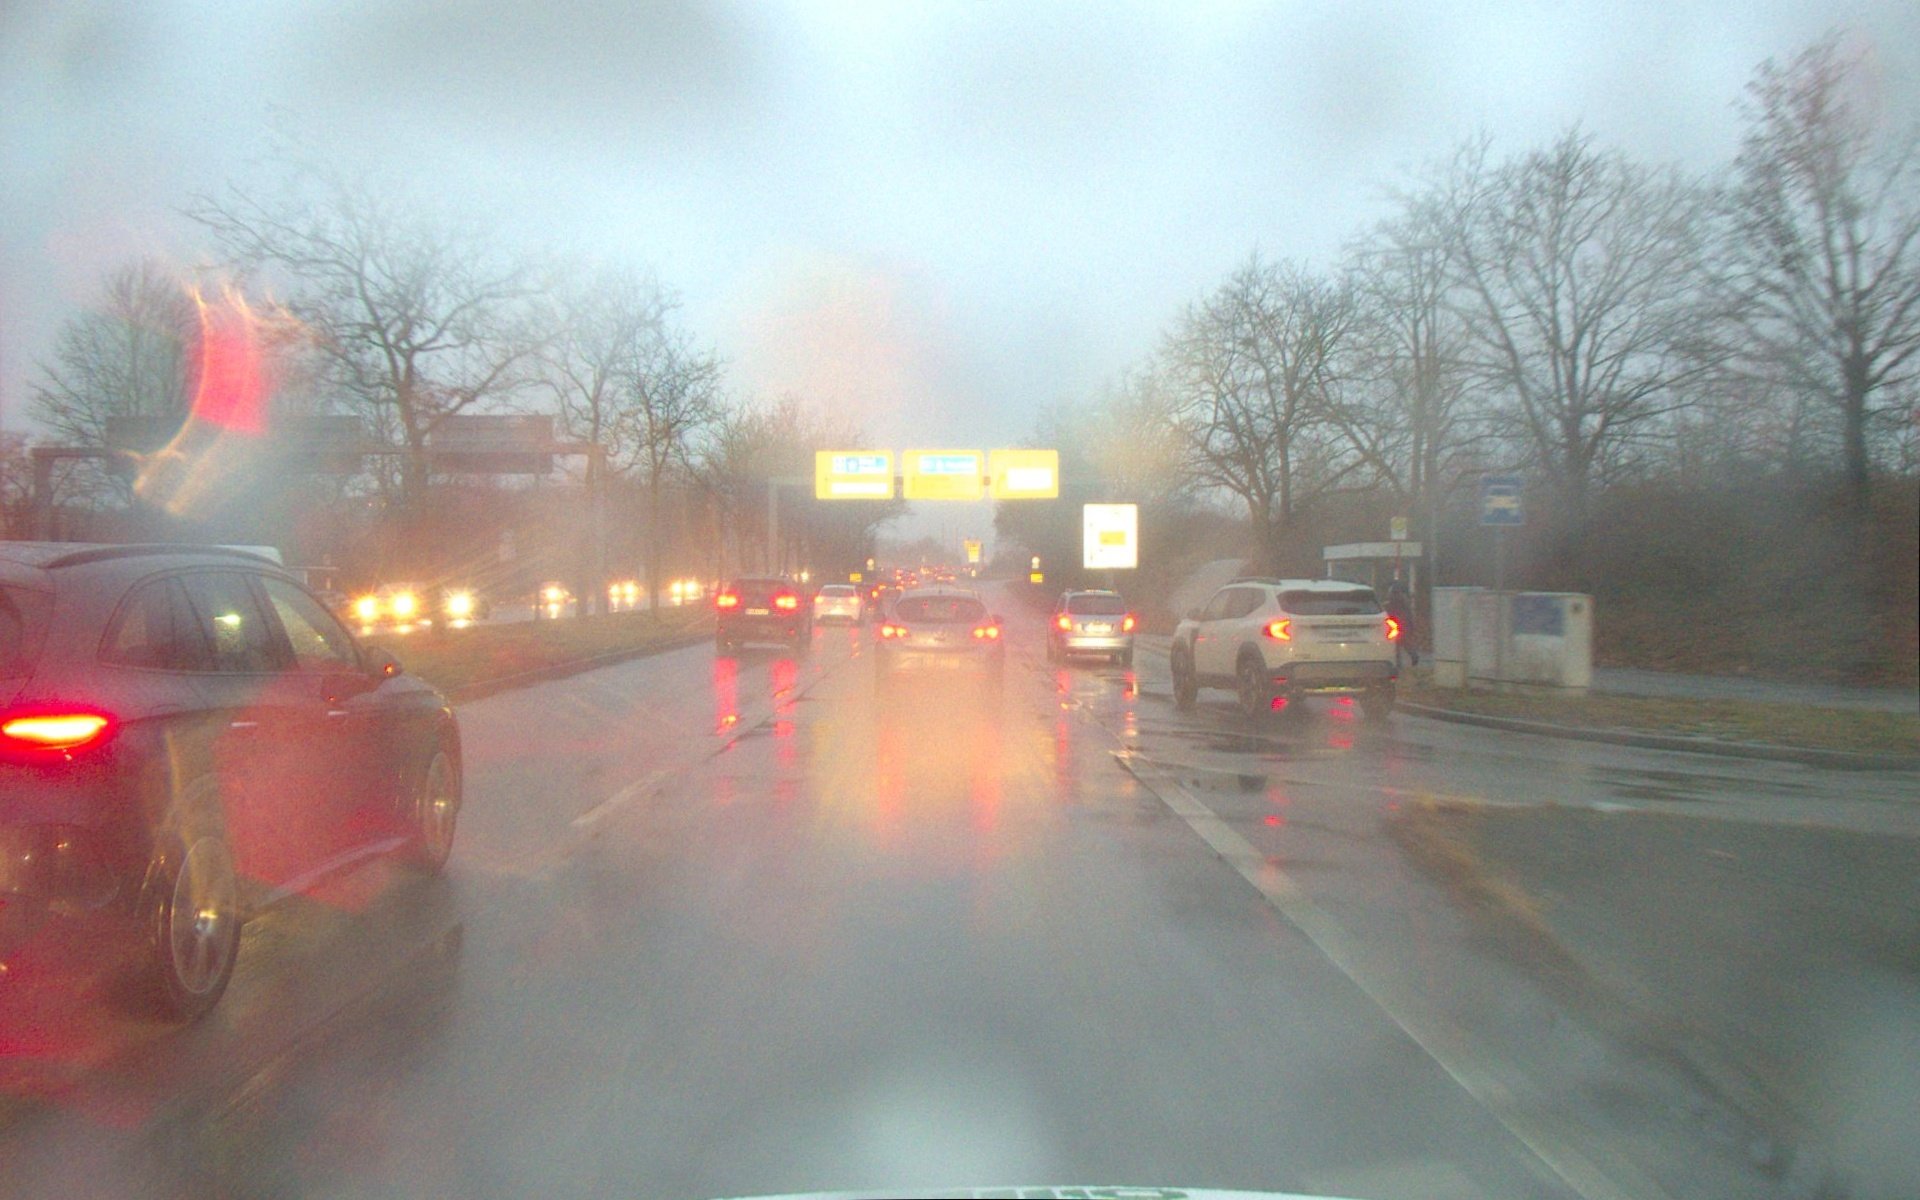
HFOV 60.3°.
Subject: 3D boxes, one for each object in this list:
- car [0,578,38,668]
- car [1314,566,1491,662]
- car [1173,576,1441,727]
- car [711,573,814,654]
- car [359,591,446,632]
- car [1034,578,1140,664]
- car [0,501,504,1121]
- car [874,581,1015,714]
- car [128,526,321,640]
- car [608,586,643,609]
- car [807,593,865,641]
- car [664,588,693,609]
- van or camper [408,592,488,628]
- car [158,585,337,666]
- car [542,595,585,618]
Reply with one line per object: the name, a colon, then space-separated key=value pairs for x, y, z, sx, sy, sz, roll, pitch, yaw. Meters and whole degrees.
car: x=-18.140 y=0.434 z=29.009 sx=1.734 sy=1.614 sz=4.032 roll=0 pitch=1 yaw=-1
car: x=8.367 y=0.237 z=31.736 sx=1.928 sy=1.647 sz=4.544 roll=-1 pitch=0 yaw=-3
car: x=4.121 y=0.557 z=20.407 sx=1.782 sy=1.646 sz=4.401 roll=0 pitch=0 yaw=-9
car: x=-4.275 y=0.279 z=36.354 sx=1.785 sy=1.677 sz=4.000 roll=0 pitch=0 yaw=0
car: x=-21.253 y=0.424 z=63.261 sx=1.865 sy=1.472 sz=4.442 roll=0 pitch=0 yaw=-1
car: x=2.642 y=0.438 z=35.364 sx=1.894 sy=1.677 sz=4.466 roll=1 pitch=0 yaw=0
car: x=-3.364 y=0.568 z=6.706 sx=1.785 sy=1.677 sz=4.466 roll=0 pitch=0 yaw=0
car: x=-0.199 y=0.629 z=23.549 sx=1.785 sy=1.677 sz=4.466 roll=1 pitch=0 yaw=0
car: x=-21.404 y=-0.452 z=48.640 sx=2.244 sy=3.057 sz=7.347 roll=1 pitch=0 yaw=1
car: x=-28.440 y=-0.208 z=140.671 sx=1.952 sy=1.883 sz=4.427 roll=1 pitch=0 yaw=1
car: x=-4.500 y=0.600 z=60.428 sx=1.785 sy=1.677 sz=4.000 roll=0 pitch=0 yaw=0
car: x=-22.644 y=-0.130 z=133.070 sx=1.749 sy=1.655 sz=3.573 roll=1 pitch=0 yaw=-2
van or camper: x=-21.780 y=0.392 z=70.537 sx=1.865 sy=1.472 sz=5.158 roll=0 pitch=0 yaw=-1
car: x=-14.844 y=0.467 z=34.752 sx=1.734 sy=1.563 sz=4.839 roll=0 pitch=1 yaw=-1
car: x=-27.460 y=0.426 z=114.664 sx=1.952 sy=1.503 sz=4.072 roll=1 pitch=0 yaw=1
